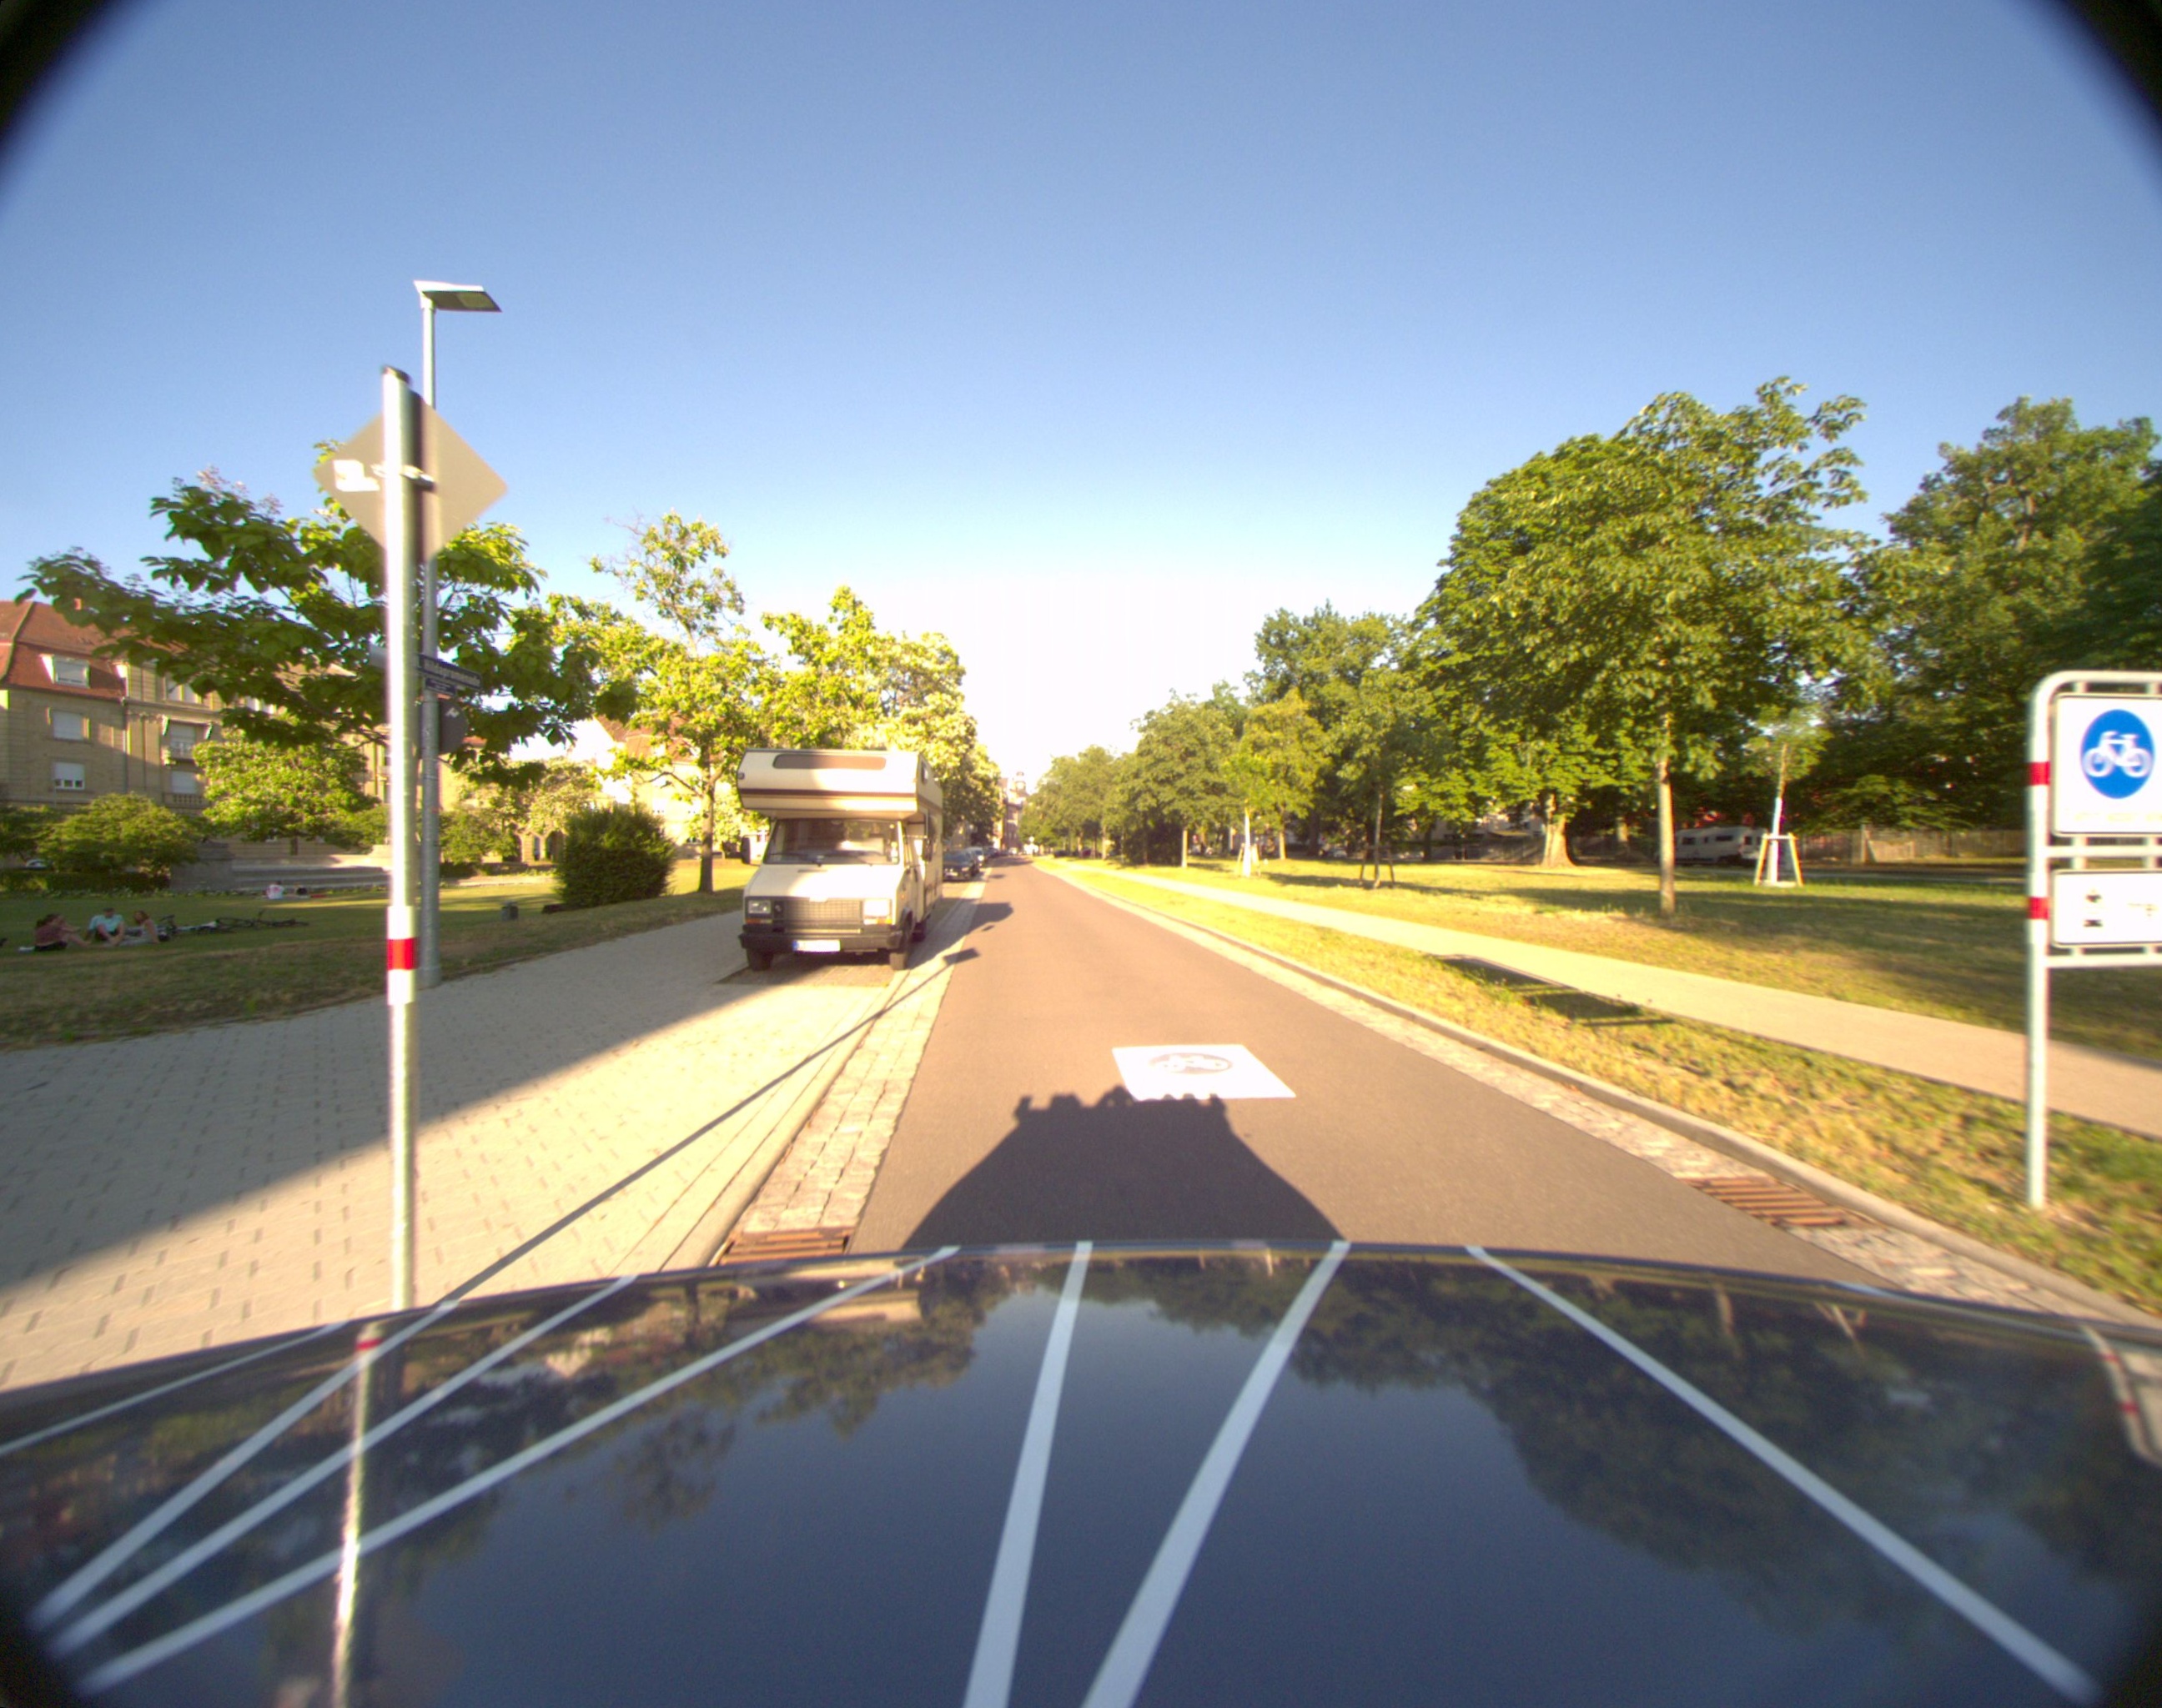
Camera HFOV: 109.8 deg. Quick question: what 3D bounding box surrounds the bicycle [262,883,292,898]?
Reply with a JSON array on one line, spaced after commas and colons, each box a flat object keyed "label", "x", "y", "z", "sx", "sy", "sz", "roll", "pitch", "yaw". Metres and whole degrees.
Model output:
[{"label": "bicycle", "x": -36.295, "y": 1.651, "z": 34.314, "sx": 0.907, "sy": 0.648, "sz": 0.438, "roll": -2, "pitch": 1, "yaw": -45}]

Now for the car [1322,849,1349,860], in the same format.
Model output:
[{"label": "car", "x": 33.390, "y": 0.031, "z": 99.786, "sx": 1.797, "sy": 1.455, "sz": 3.997, "roll": -1, "pitch": 1, "yaw": -7}]

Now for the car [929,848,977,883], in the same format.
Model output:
[{"label": "car", "x": -5.937, "y": 0.491, "z": 35.748, "sx": 2.000, "sy": 1.501, "sz": 3.997, "roll": -1, "pitch": 1, "yaw": -7}]

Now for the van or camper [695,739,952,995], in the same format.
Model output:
[{"label": "van or camper", "x": -3.329, "y": 0.130, "z": 11.369, "sx": 2.429, "sy": 2.766, "sz": 5.947, "roll": 2, "pitch": 1, "yaw": -7}]

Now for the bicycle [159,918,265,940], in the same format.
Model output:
[{"label": "bicycle", "x": -22.923, "y": 1.970, "z": 20.094, "sx": 0.659, "sy": 0.380, "sz": 1.931, "roll": 0, "pitch": 0, "yaw": -4}]

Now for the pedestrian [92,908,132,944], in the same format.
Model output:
[{"label": "pedestrian", "x": -23.901, "y": 1.760, "z": 18.741, "sx": 0.453, "sy": 0.830, "sz": 0.499, "roll": 0, "pitch": 1, "yaw": 27}]

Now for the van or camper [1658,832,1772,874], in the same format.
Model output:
[{"label": "van or camper", "x": 38.750, "y": -0.067, "z": 46.664, "sx": 2.000, "sy": 2.425, "sz": 5.462, "roll": 0, "pitch": 0, "yaw": -8}]

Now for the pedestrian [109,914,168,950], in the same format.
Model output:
[{"label": "pedestrian", "x": -22.007, "y": 1.811, "z": 17.740, "sx": 0.497, "sy": 0.760, "sz": 0.812, "roll": 0, "pitch": 0, "yaw": 33}]

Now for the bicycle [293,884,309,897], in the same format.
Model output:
[{"label": "bicycle", "x": -35.798, "y": 1.664, "z": 34.855, "sx": 0.488, "sy": 0.579, "sz": 0.438, "roll": -2, "pitch": 1, "yaw": -45}]

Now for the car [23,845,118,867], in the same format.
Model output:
[{"label": "car", "x": -70.609, "y": 0.157, "z": 53.181, "sx": 1.725, "sy": 1.490, "sz": 3.705, "roll": -1, "pitch": -1, "yaw": 1}]

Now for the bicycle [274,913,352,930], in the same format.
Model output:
[{"label": "bicycle", "x": -22.763, "y": 1.992, "z": 22.553, "sx": 0.659, "sy": 0.317, "sz": 1.702, "roll": 0, "pitch": 0, "yaw": -4}]

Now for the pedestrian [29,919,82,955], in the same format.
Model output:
[{"label": "pedestrian", "x": -22.672, "y": 1.833, "z": 16.804, "sx": 0.498, "sy": 0.742, "sz": 0.454, "roll": -1, "pitch": 1, "yaw": -10}]
